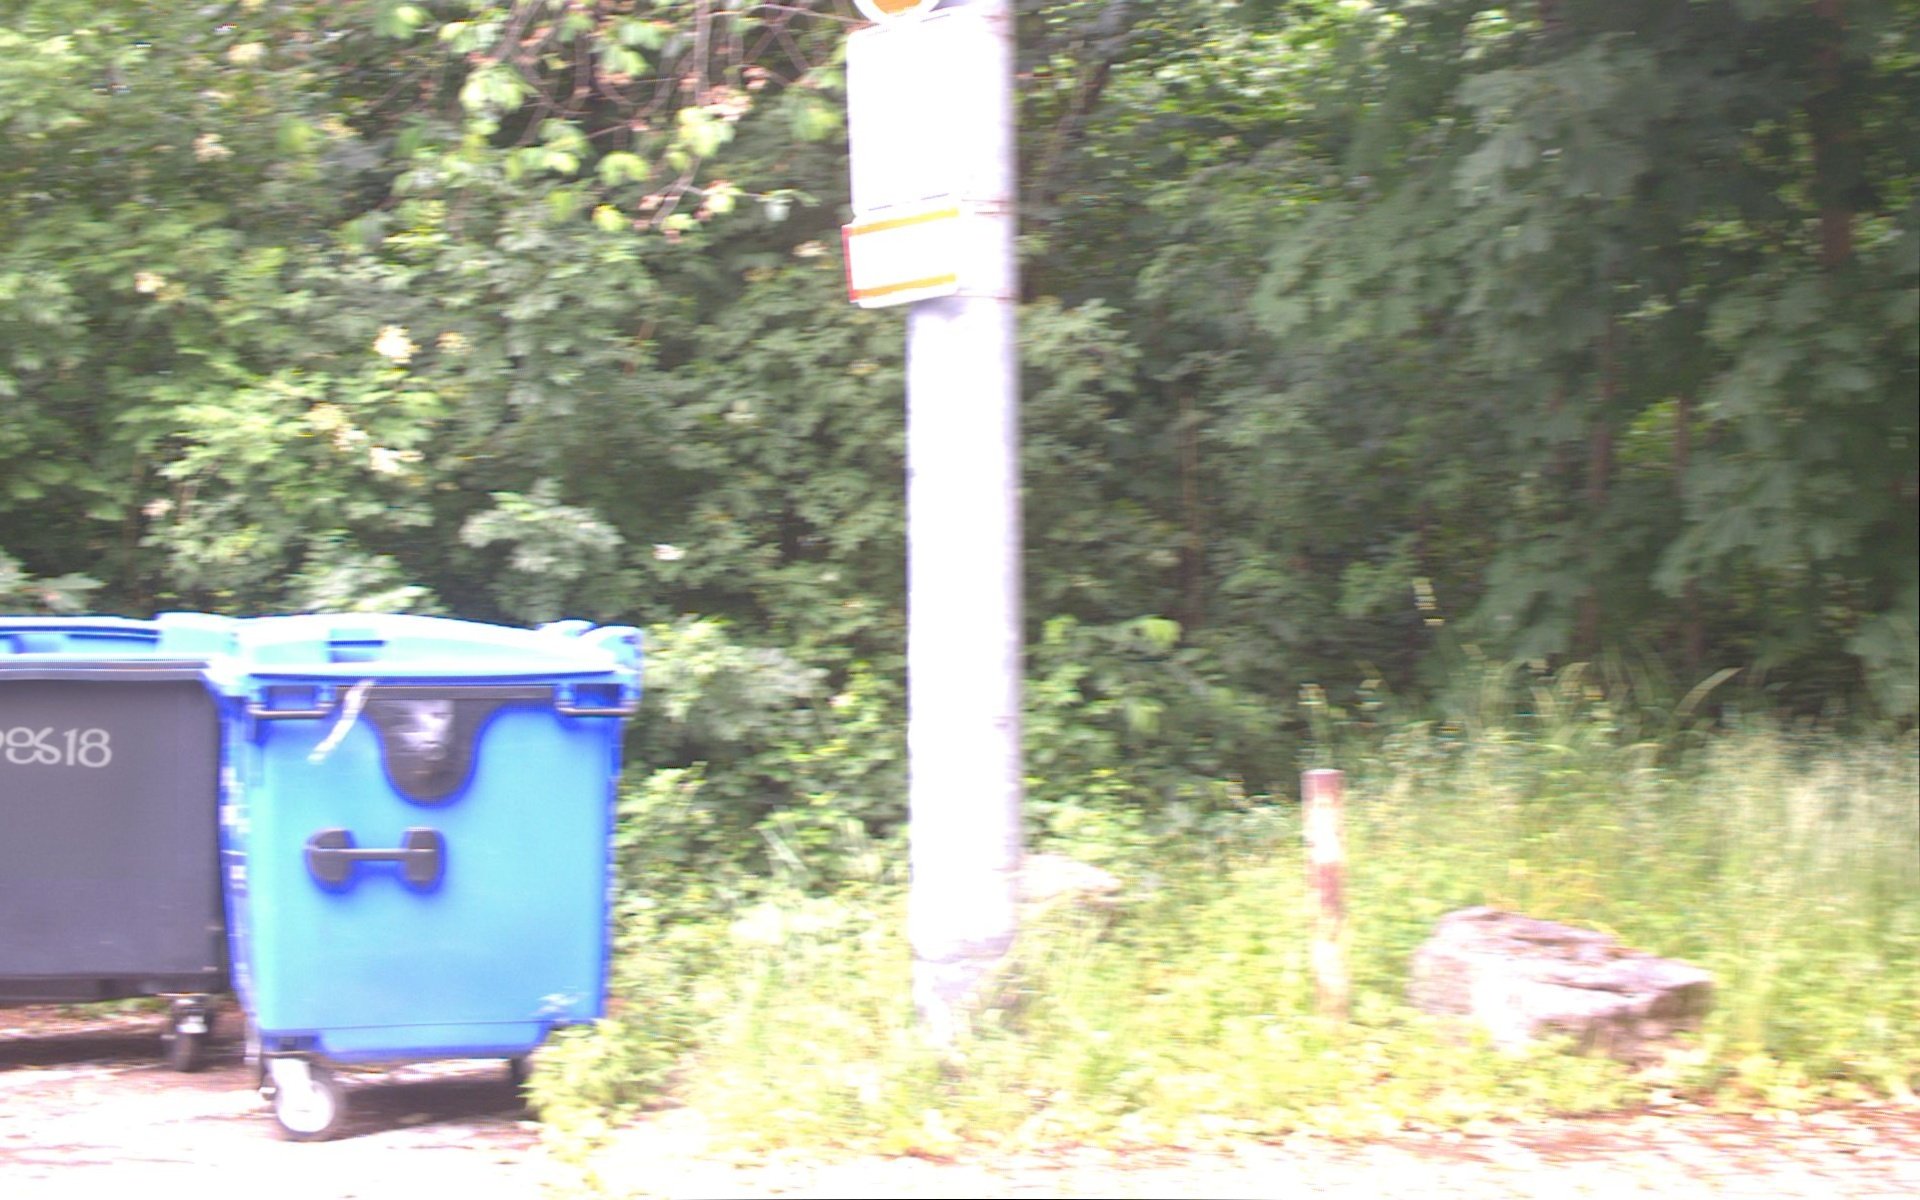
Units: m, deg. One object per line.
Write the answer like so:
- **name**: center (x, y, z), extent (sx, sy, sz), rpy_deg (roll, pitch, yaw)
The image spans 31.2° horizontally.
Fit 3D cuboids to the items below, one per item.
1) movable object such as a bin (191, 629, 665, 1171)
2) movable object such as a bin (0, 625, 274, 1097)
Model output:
- **movable object such as a bin**: center (-1.461, 0.748, 9.237), extent (1.142, 1.320, 1.257), rpy_deg (0, 0, -14)
- **movable object such as a bin**: center (-2.726, 0.741, 10.250), extent (1.236, 1.315, 1.127), rpy_deg (0, 0, -6)
